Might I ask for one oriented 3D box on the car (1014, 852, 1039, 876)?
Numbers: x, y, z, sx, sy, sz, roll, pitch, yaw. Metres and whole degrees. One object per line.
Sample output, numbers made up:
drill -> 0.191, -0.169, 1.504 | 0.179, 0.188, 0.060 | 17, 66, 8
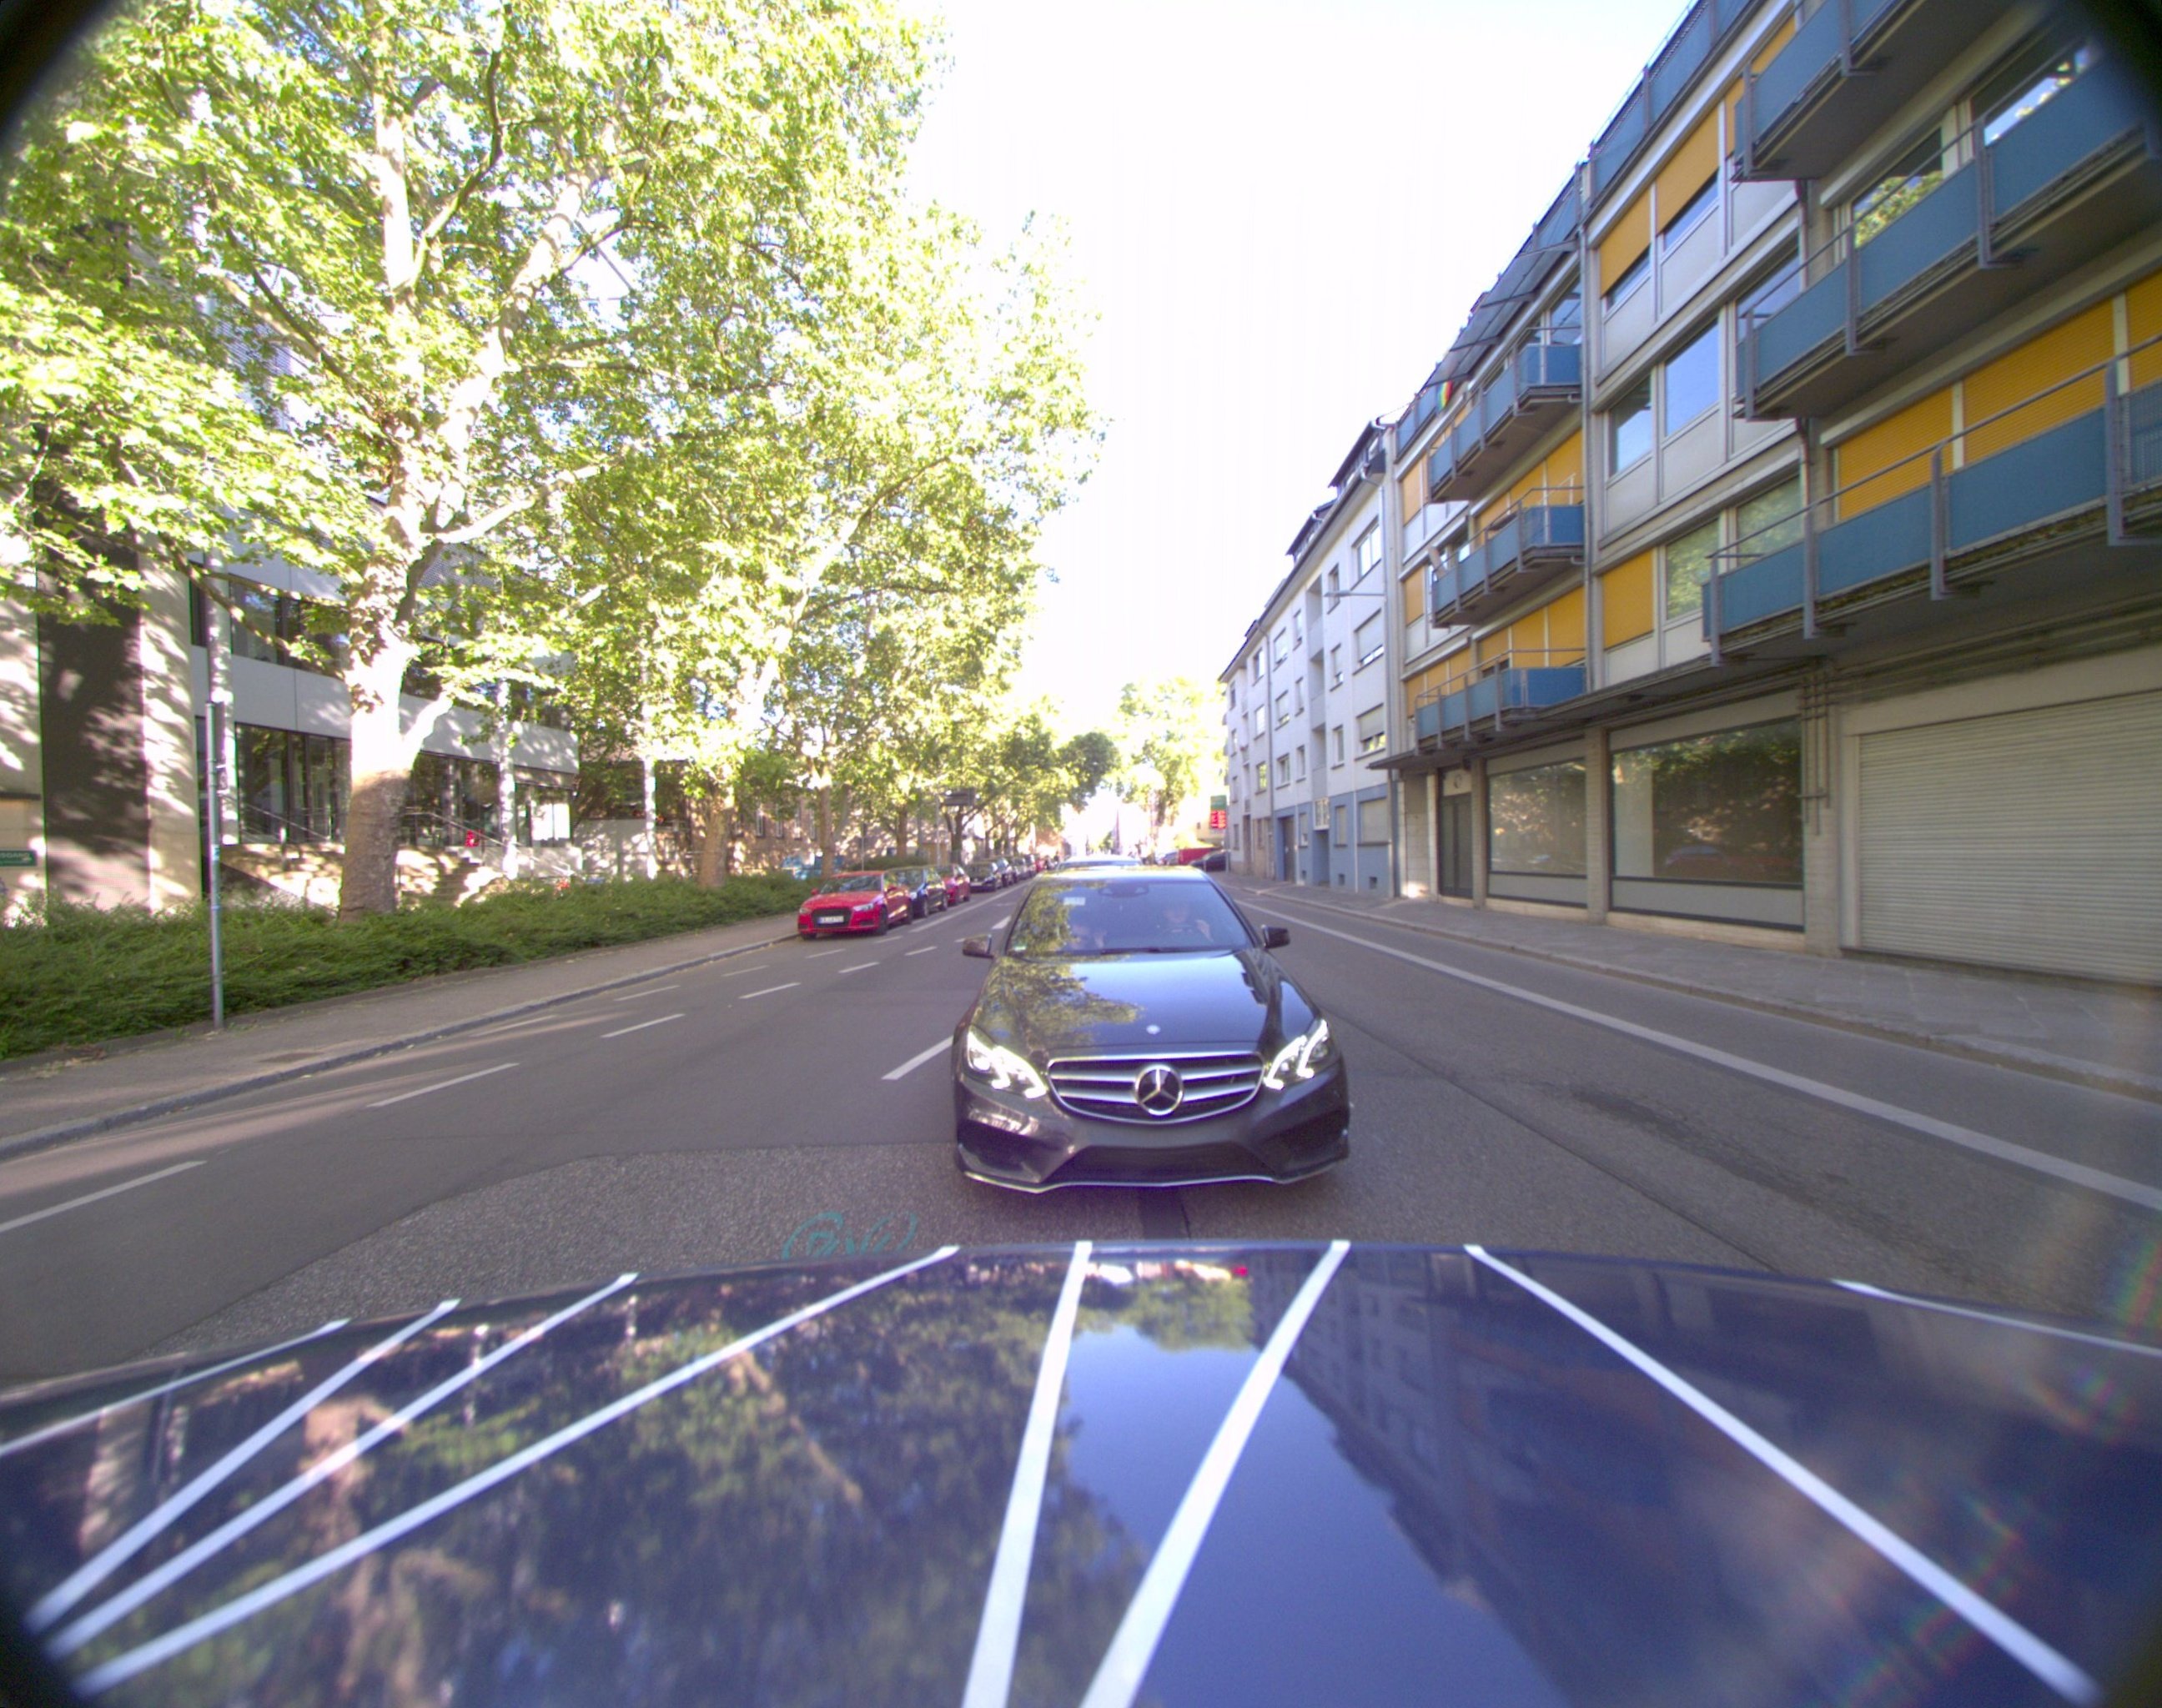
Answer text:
car -> -4.220, 0.749, 59.370 | 1.663, 1.704, 3.836 | -2, 0, 0

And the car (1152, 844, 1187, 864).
car -> 10.397, 0.021, 89.311 | 3.905, 2.164, 1.725 | -2, 1, 2

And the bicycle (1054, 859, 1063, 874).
bicycle -> -1.793, 0.997, 61.018 | 0.667, 1.093, 1.814 | -2, 1, 0

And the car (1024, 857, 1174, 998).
car -> 0.207, 0.885, 11.182 | 1.732, 1.538, 4.293 | -2, 1, 0

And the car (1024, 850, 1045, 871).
car -> -4.255, 0.584, 70.228 | 1.646, 1.839, 3.836 | -2, 0, 0

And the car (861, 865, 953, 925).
car -> -5.014, 1.126, 22.420 | 1.686, 1.458, 4.000 | -3, 0, 0

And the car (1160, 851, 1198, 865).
car -> 10.525, 0.397, 82.133 | 3.905, 1.325, 1.525 | -2, 1, 2

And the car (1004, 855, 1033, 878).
car -> -4.428, 0.871, 54.514 | 1.686, 1.552, 3.868 | -2, 0, 0

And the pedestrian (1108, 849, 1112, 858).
pedestrian -> 7.482, -0.163, 195.259 | 0.883, 2.108, 0.821 | -2, 1, 9

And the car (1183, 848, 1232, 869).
car -> 10.126, 0.355, 61.137 | 3.668, 1.501, 1.602 | -2, 1, 2

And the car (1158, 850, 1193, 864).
car -> 10.537, 0.329, 84.817 | 3.782, 1.432, 1.539 | -2, 1, 2

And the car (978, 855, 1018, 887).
car -> -4.539, 0.904, 42.065 | 1.686, 1.610, 3.836 | -2, 0, 0

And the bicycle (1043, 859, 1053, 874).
bicycle -> -2.670, 1.019, 61.570 | 0.667, 1.093, 1.814 | -2, 1, 0

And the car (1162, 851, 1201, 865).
car -> 10.516, 0.424, 79.744 | 3.905, 1.325, 1.525 | -2, 1, 2

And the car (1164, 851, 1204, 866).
car -> 10.400, 0.425, 76.990 | 3.905, 1.366, 1.594 | -2, 1, 2

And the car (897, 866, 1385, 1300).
car -> 0.229, 0.916, 5.073 | 1.828, 1.495, 4.293 | -2, 1, 0

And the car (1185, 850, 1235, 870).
car -> 9.957, 0.455, 58.732 | 3.598, 1.401, 1.534 | -2, 0, 2

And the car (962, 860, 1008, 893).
car -> -4.667, 1.044, 37.405 | 1.686, 1.443, 4.000 | -2, 0, 0

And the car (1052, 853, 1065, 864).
car -> -3.133, 0.643, 106.830 | 1.686, 1.475, 3.836 | -2, 0, 0

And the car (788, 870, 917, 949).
car -> -5.132, 1.187, 17.661 | 1.724, 1.412, 4.030 | -4, 0, -1

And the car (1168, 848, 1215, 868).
car -> 9.712, 0.328, 66.777 | 3.905, 1.577, 1.603 | -2, 1, 2

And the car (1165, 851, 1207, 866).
car -> 10.369, 0.449, 74.968 | 3.905, 1.366, 1.594 | -2, 1, 2

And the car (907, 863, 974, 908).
car -> -5.010, 1.091, 27.605 | 1.666, 1.426, 3.781 | -2, 0, 0

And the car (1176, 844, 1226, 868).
car -> 10.071, 0.163, 63.981 | 3.905, 1.895, 1.749 | -2, 1, 2

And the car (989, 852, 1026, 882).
car -> -4.597, 0.768, 48.190 | 1.819, 1.758, 4.431 | -2, 0, 0

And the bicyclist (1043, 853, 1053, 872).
bicyclist -> -2.692, 0.687, 61.530 | 0.756, 1.512, 0.768 | -2, 1, -1

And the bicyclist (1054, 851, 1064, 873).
bicyclist -> -1.781, 0.660, 60.982 | 0.756, 1.714, 0.768 | -2, 1, -1

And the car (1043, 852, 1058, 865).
car -> -3.795, 0.591, 95.687 | 1.686, 1.546, 3.836 | -2, 0, 0
